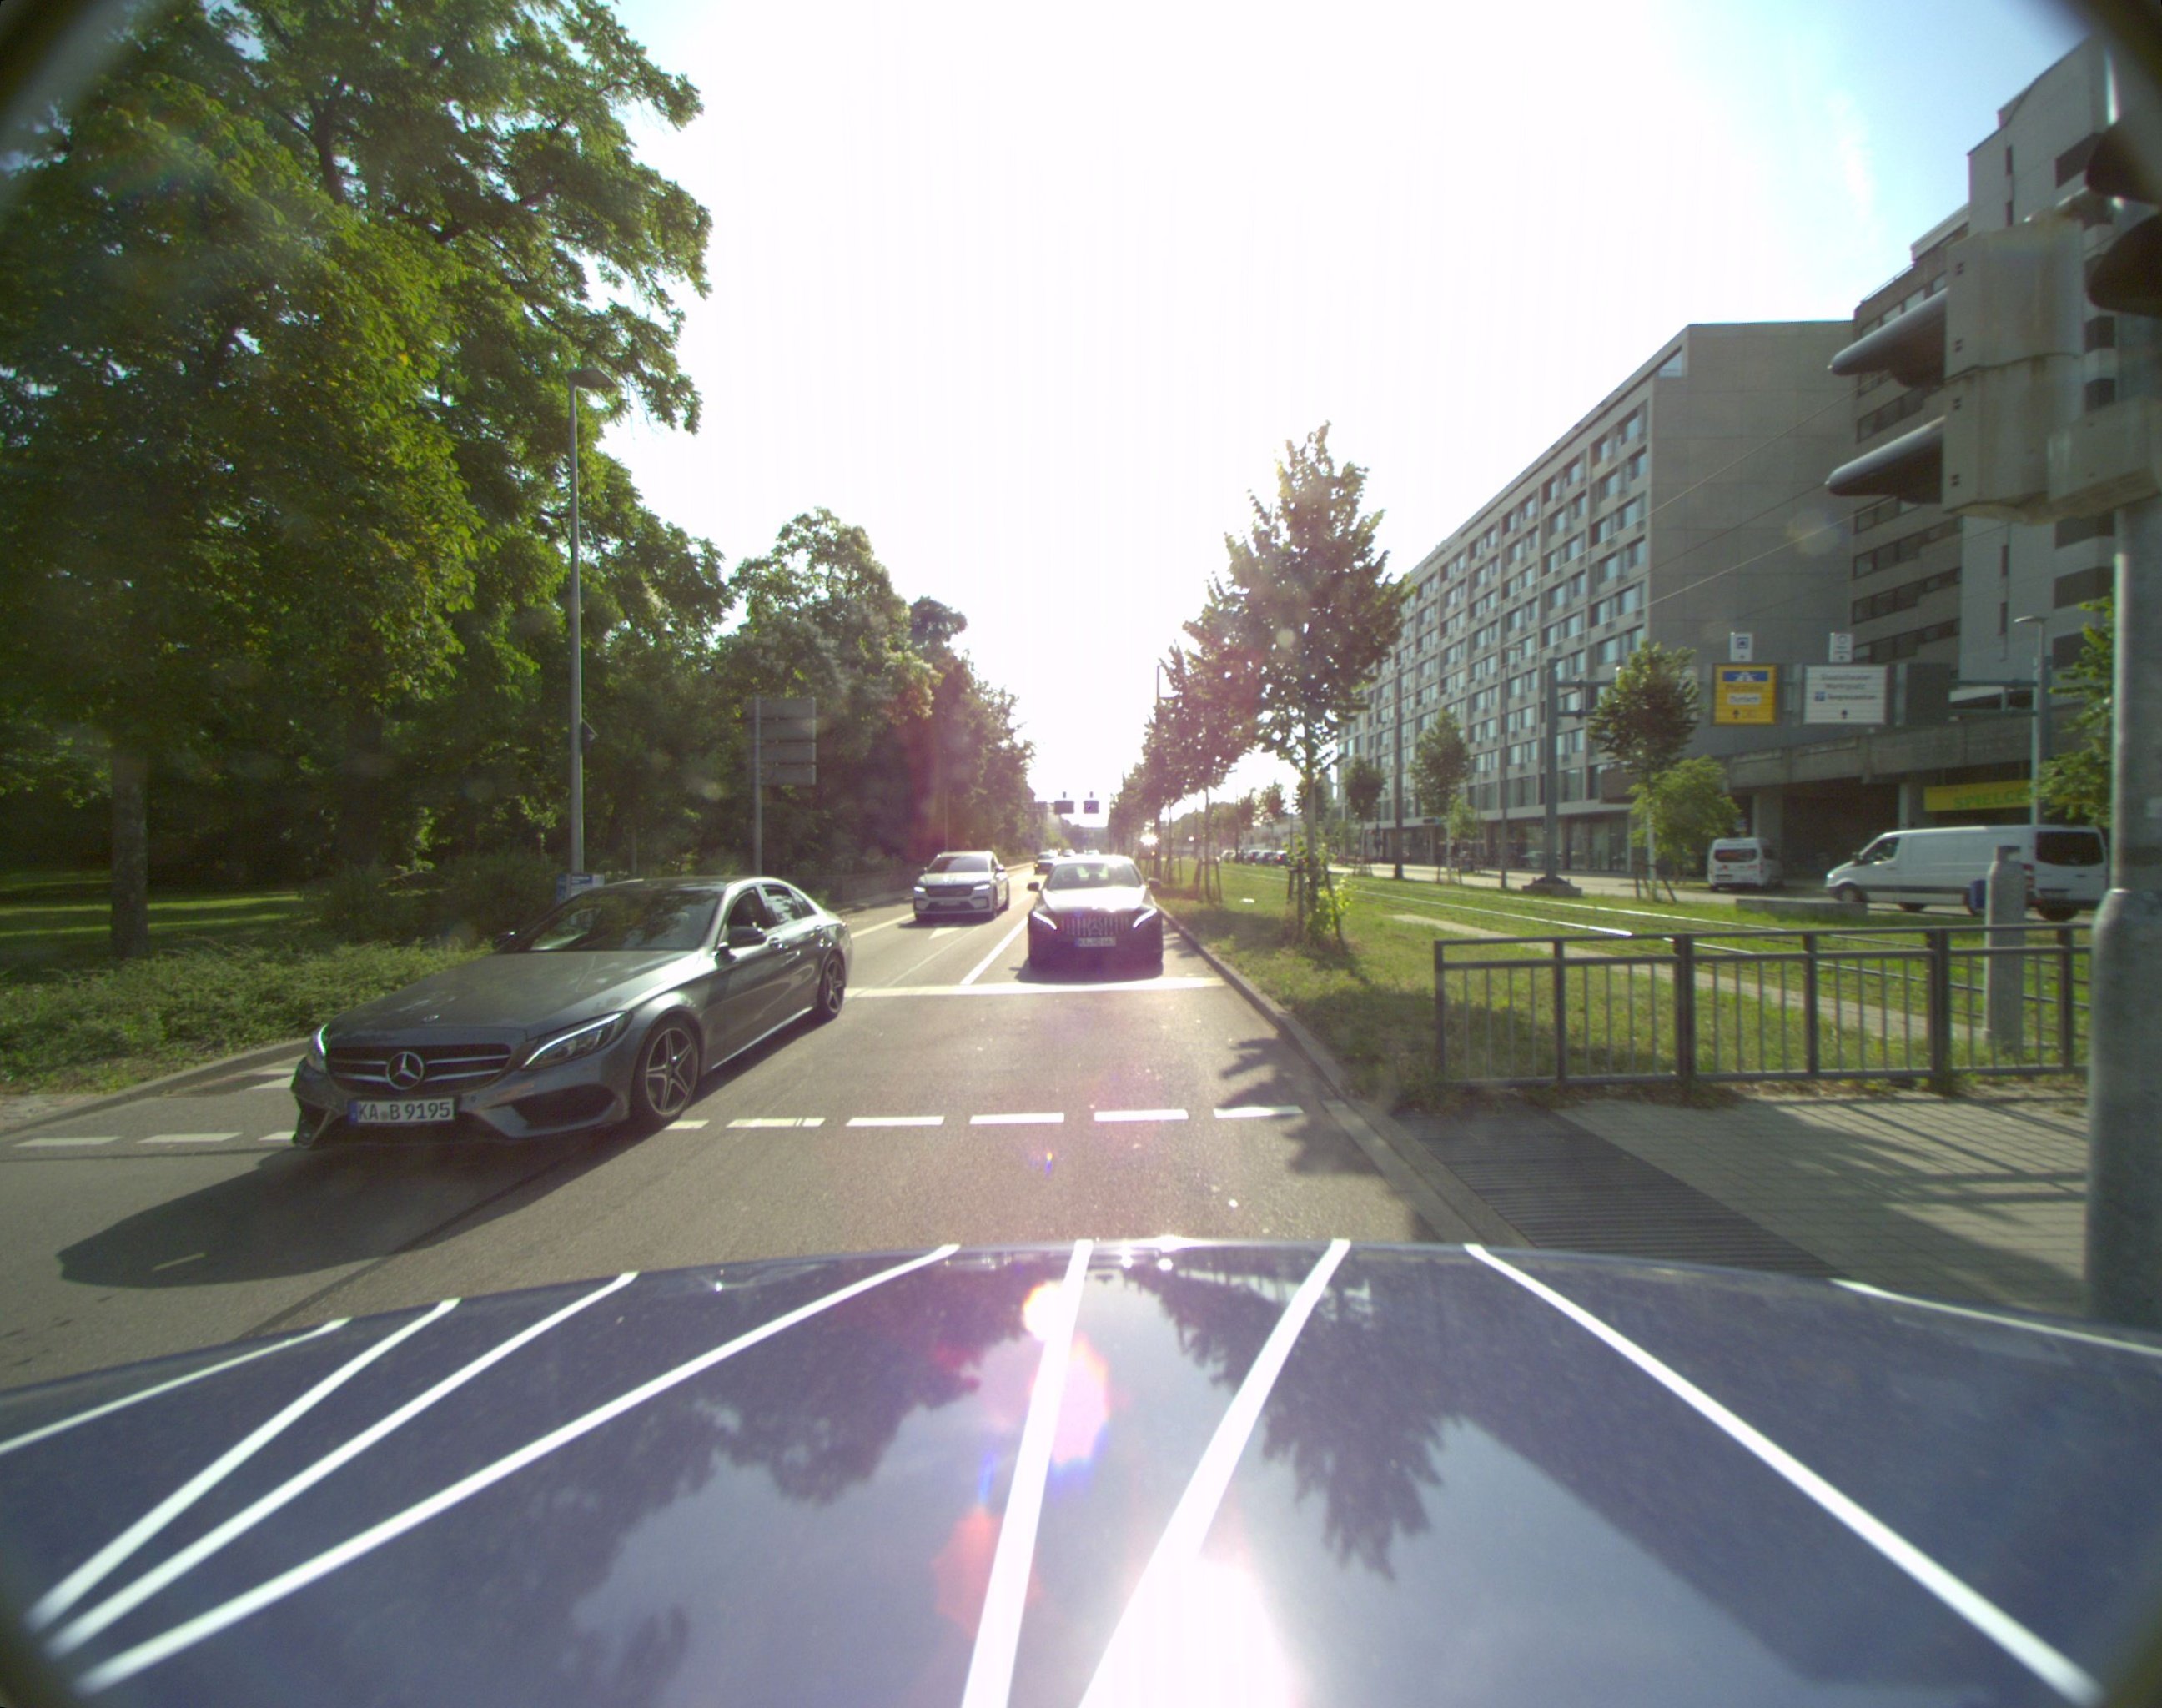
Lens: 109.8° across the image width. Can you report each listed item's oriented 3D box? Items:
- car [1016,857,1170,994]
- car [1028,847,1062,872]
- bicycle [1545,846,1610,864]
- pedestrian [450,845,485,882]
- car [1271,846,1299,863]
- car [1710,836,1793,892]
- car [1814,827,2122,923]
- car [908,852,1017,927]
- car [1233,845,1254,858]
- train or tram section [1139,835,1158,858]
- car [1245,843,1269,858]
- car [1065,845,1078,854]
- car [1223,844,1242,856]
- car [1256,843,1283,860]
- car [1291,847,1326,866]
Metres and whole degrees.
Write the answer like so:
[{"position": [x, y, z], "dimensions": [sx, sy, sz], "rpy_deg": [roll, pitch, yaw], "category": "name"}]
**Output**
[{"position": [0.205, 0.849, 11.223], "dimensions": [1.759, 1.437, 4.617], "rpy_deg": [-2, 1, 2], "category": "car"}, {"position": [-2.349, 0.332, 50.825], "dimensions": [1.998, 1.630, 4.000], "rpy_deg": [0, 1, 1], "category": "car"}, {"position": [38.138, 0.086, 58.423], "dimensions": [3.993, 1.358, 1.127], "rpy_deg": [0, 1, 10], "category": "bicycle"}, {"position": [-30.307, 0.461, 37.544], "dimensions": [0.983, 1.820, 1.072], "rpy_deg": [1, 1, 31], "category": "pedestrian"}, {"position": [18.396, 0.034, 68.725], "dimensions": [1.745, 1.478, 3.641], "rpy_deg": [0, 1, 3], "category": "car"}, {"position": [29.857, 0.378, 33.760], "dimensions": [5.419, 2.295, 1.879], "rpy_deg": [-1, 1, -39], "category": "car"}, {"position": [23.361, 0.462, 20.485], "dimensions": [2.051, 2.226, 5.334], "rpy_deg": [0, 1, 0], "category": "car"}, {"position": [-2.788, 0.787, 18.875], "dimensions": [1.897, 1.561, 4.250], "rpy_deg": [-1, 1, 2], "category": "car"}, {"position": [18.749, -0.295, 87.668], "dimensions": [1.811, 1.466, 4.000], "rpy_deg": [0, 1, 3], "category": "car"}, {"position": [10.211, -1.169, 115.030], "dimensions": [2.500, 3.410, 6.669], "rpy_deg": [0, 1, 2], "category": "train or tram section"}, {"position": [18.662, -0.375, 80.578], "dimensions": [1.811, 1.565, 4.000], "rpy_deg": [0, 1, 3], "category": "car"}, {"position": [-1.573, -0.735, 127.658], "dimensions": [1.904, 1.585, 4.000], "rpy_deg": [0, 1, 1], "category": "car"}, {"position": [19.266, -0.475, 96.742], "dimensions": [1.787, 1.516, 4.000], "rpy_deg": [0, 1, 2], "category": "car"}, {"position": [18.601, -0.273, 75.102], "dimensions": [1.811, 1.565, 4.000], "rpy_deg": [0, 1, 3], "category": "car"}, {"position": [18.200, 0.178, 60.967], "dimensions": [1.811, 1.472, 4.000], "rpy_deg": [0, 1, 3], "category": "car"}]
